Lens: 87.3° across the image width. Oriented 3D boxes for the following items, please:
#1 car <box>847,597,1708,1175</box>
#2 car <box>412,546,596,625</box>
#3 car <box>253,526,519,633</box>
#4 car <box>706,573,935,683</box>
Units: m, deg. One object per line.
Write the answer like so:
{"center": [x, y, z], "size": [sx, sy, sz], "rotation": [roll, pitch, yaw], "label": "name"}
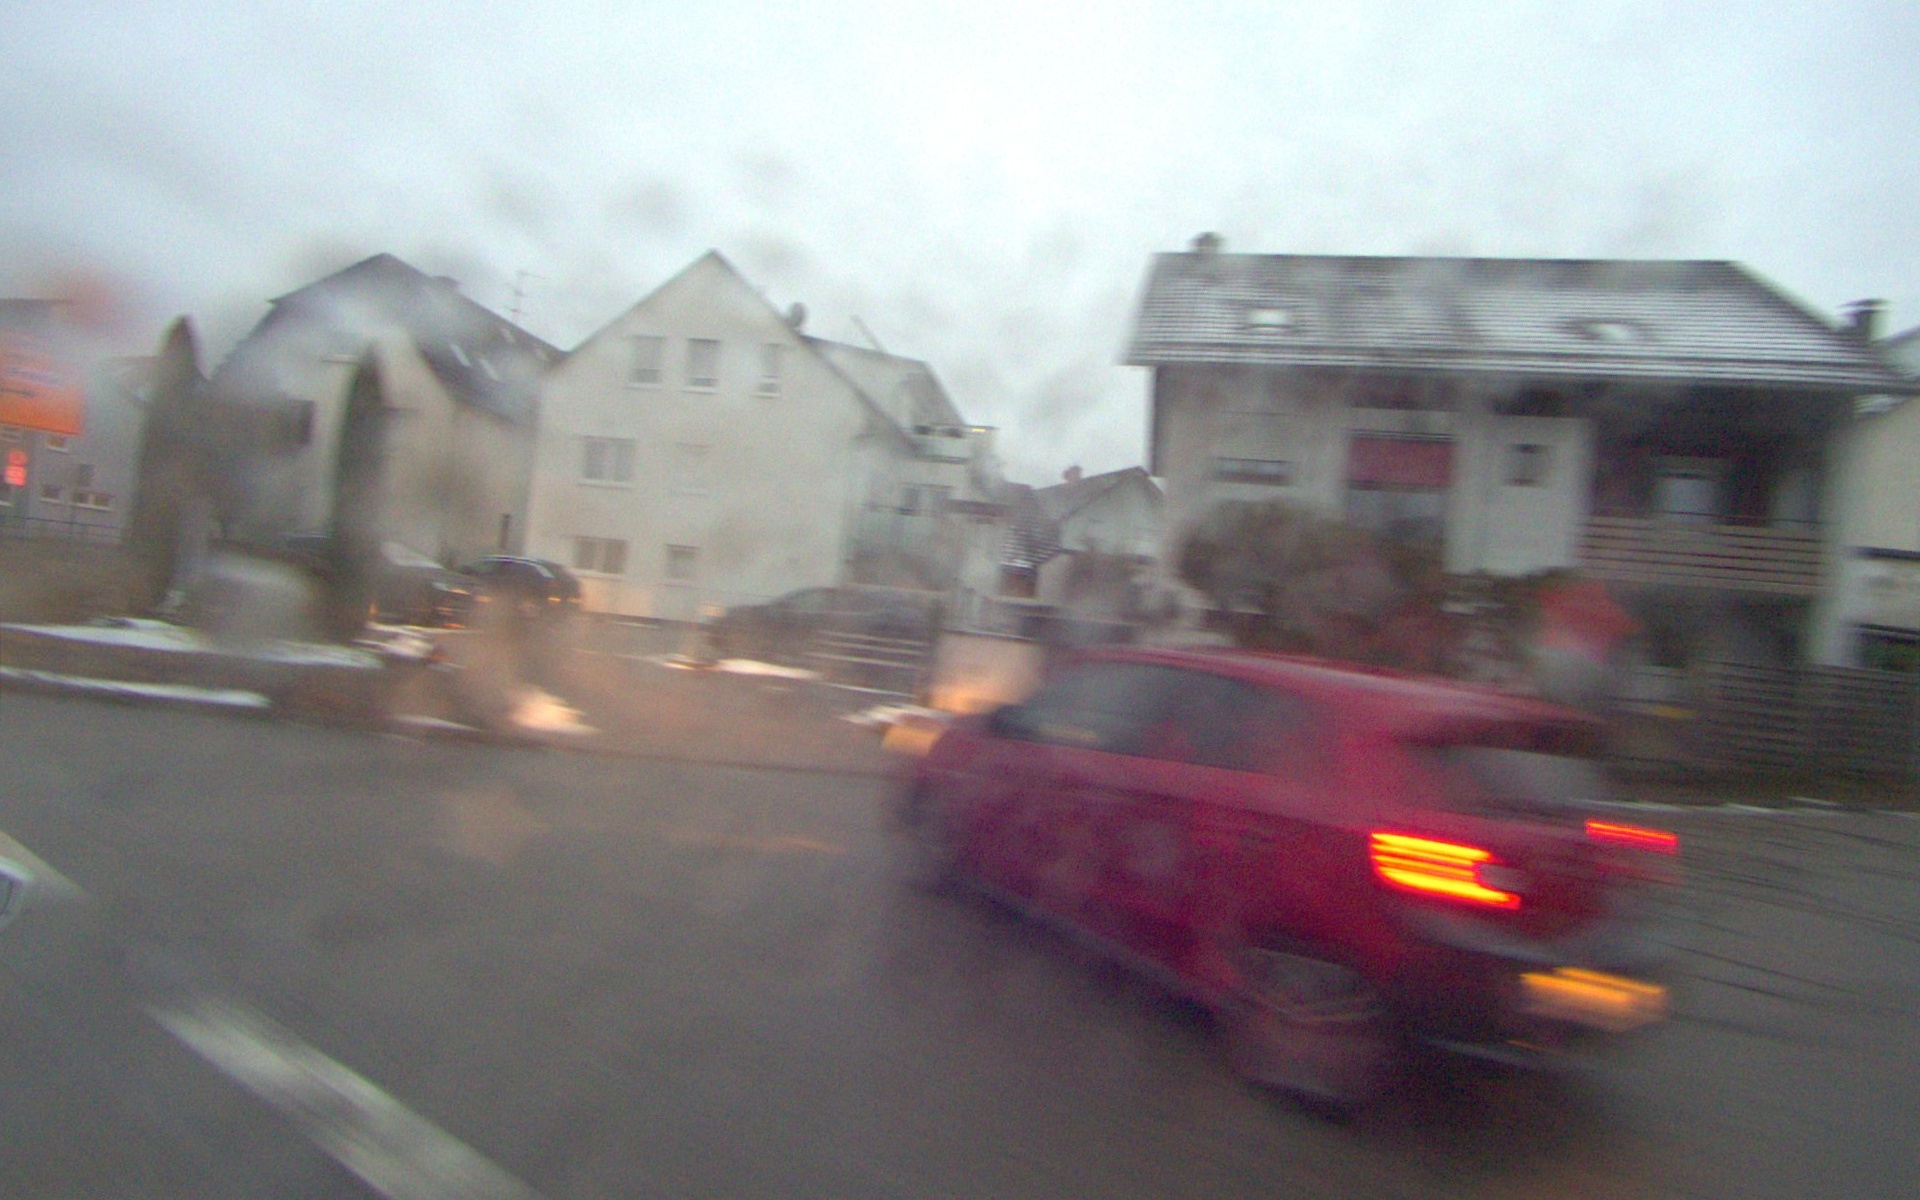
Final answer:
{"center": [1.026, 0.884, 4.784], "size": [1.535, 1.483, 3.668], "rotation": [7, -1, -32], "label": "car"}
{"center": [-11.901, -0.364, 26.374], "size": [3.923, 1.587, 1.815], "rotation": [6, 1, 7], "label": "car"}
{"center": [-11.763, -0.404, 20.750], "size": [4.464, 1.649, 1.815], "rotation": [6, 1, 7], "label": "car"}
{"center": [-2.696, 0.523, 19.977], "size": [4.057, 1.653, 1.815], "rotation": [6, 1, 7], "label": "car"}
